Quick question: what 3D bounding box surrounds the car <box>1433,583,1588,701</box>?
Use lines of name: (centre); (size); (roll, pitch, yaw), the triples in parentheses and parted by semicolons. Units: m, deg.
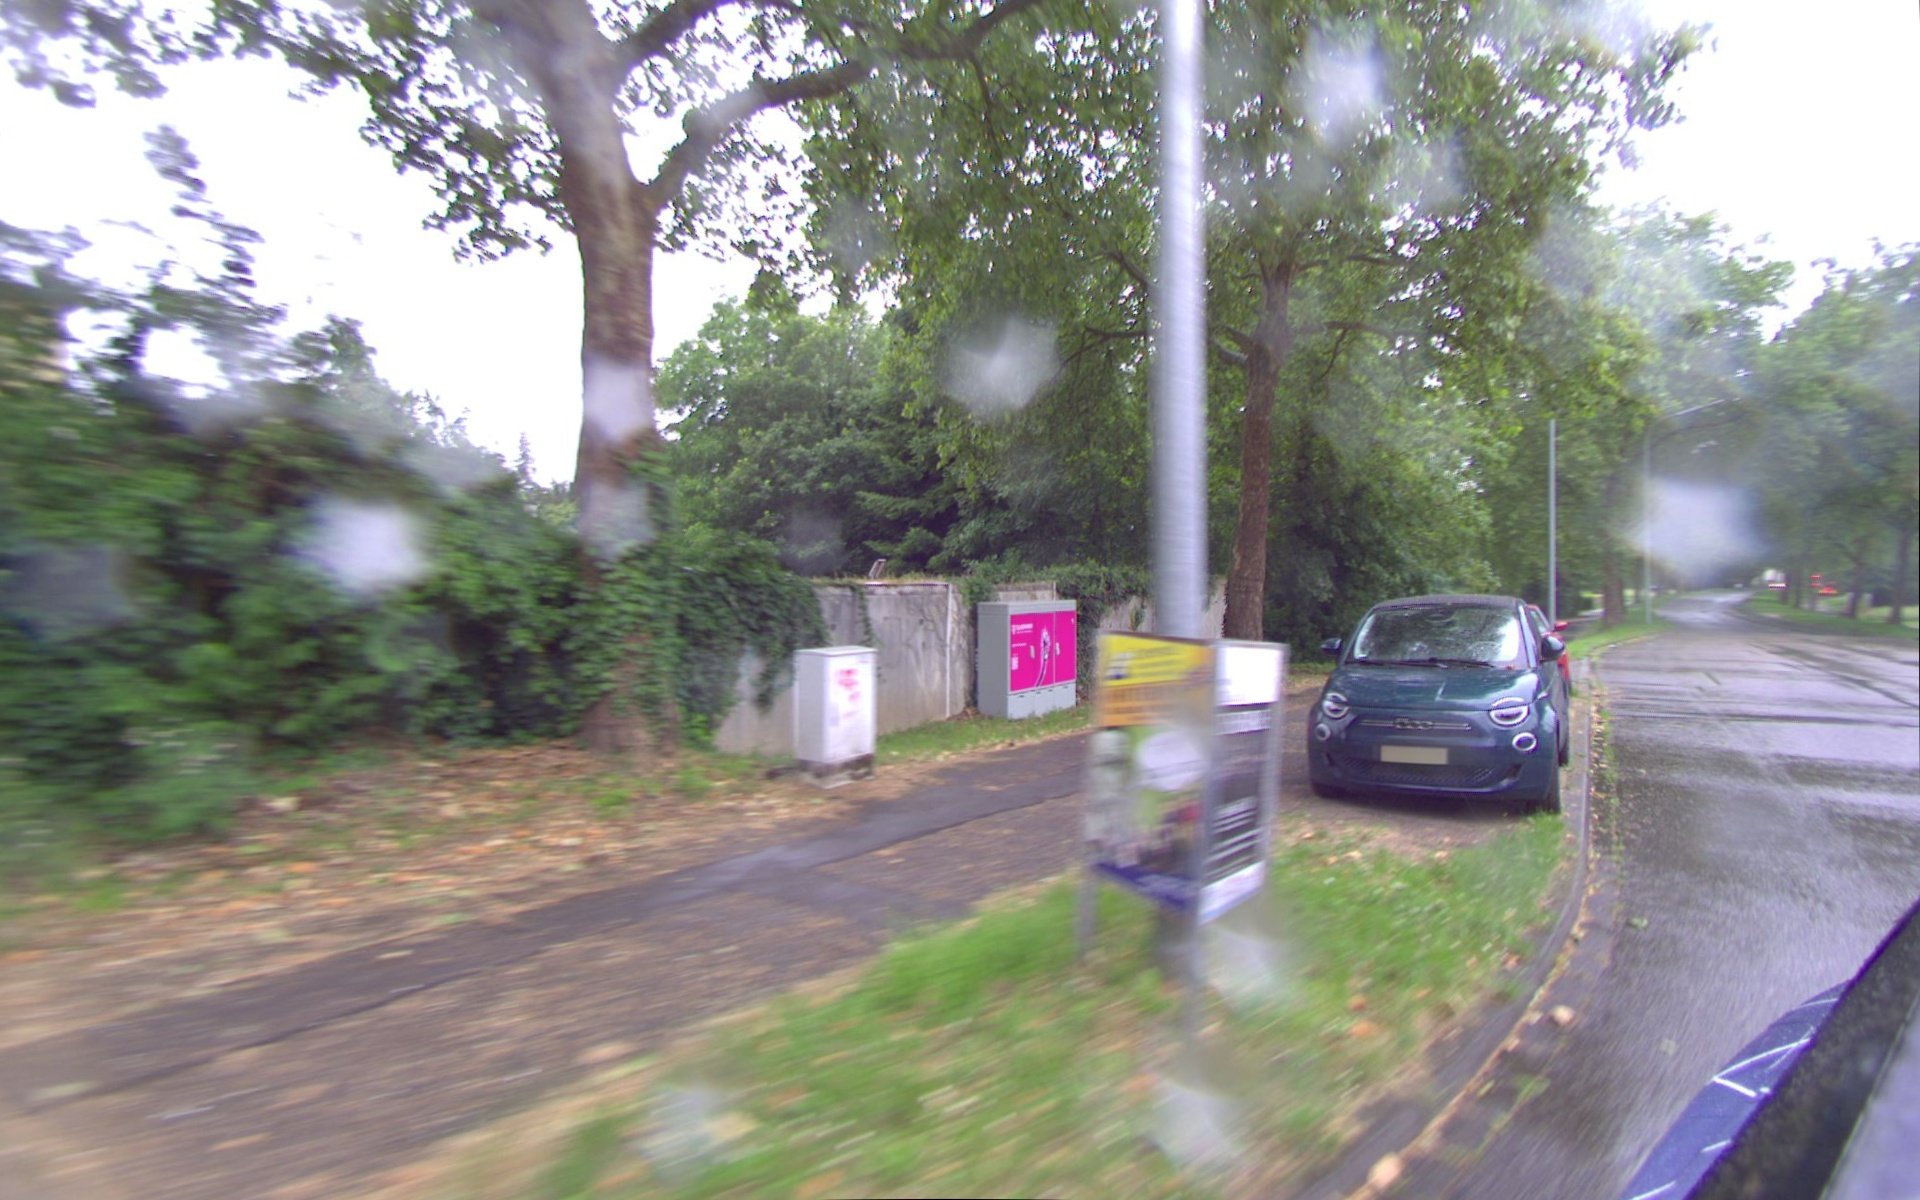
car: (8.870, 0.670, 16.228); (1.810, 1.538, 3.701); (-8, -5, 31)

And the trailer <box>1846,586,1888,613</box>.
trailer: (96.152, -0.096, 107.349); (2.793, 2.696, 6.561); (2, 3, 38)

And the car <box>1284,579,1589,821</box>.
car: (4.052, 0.635, 8.290); (1.742, 1.511, 3.557); (-3, -1, 33)
